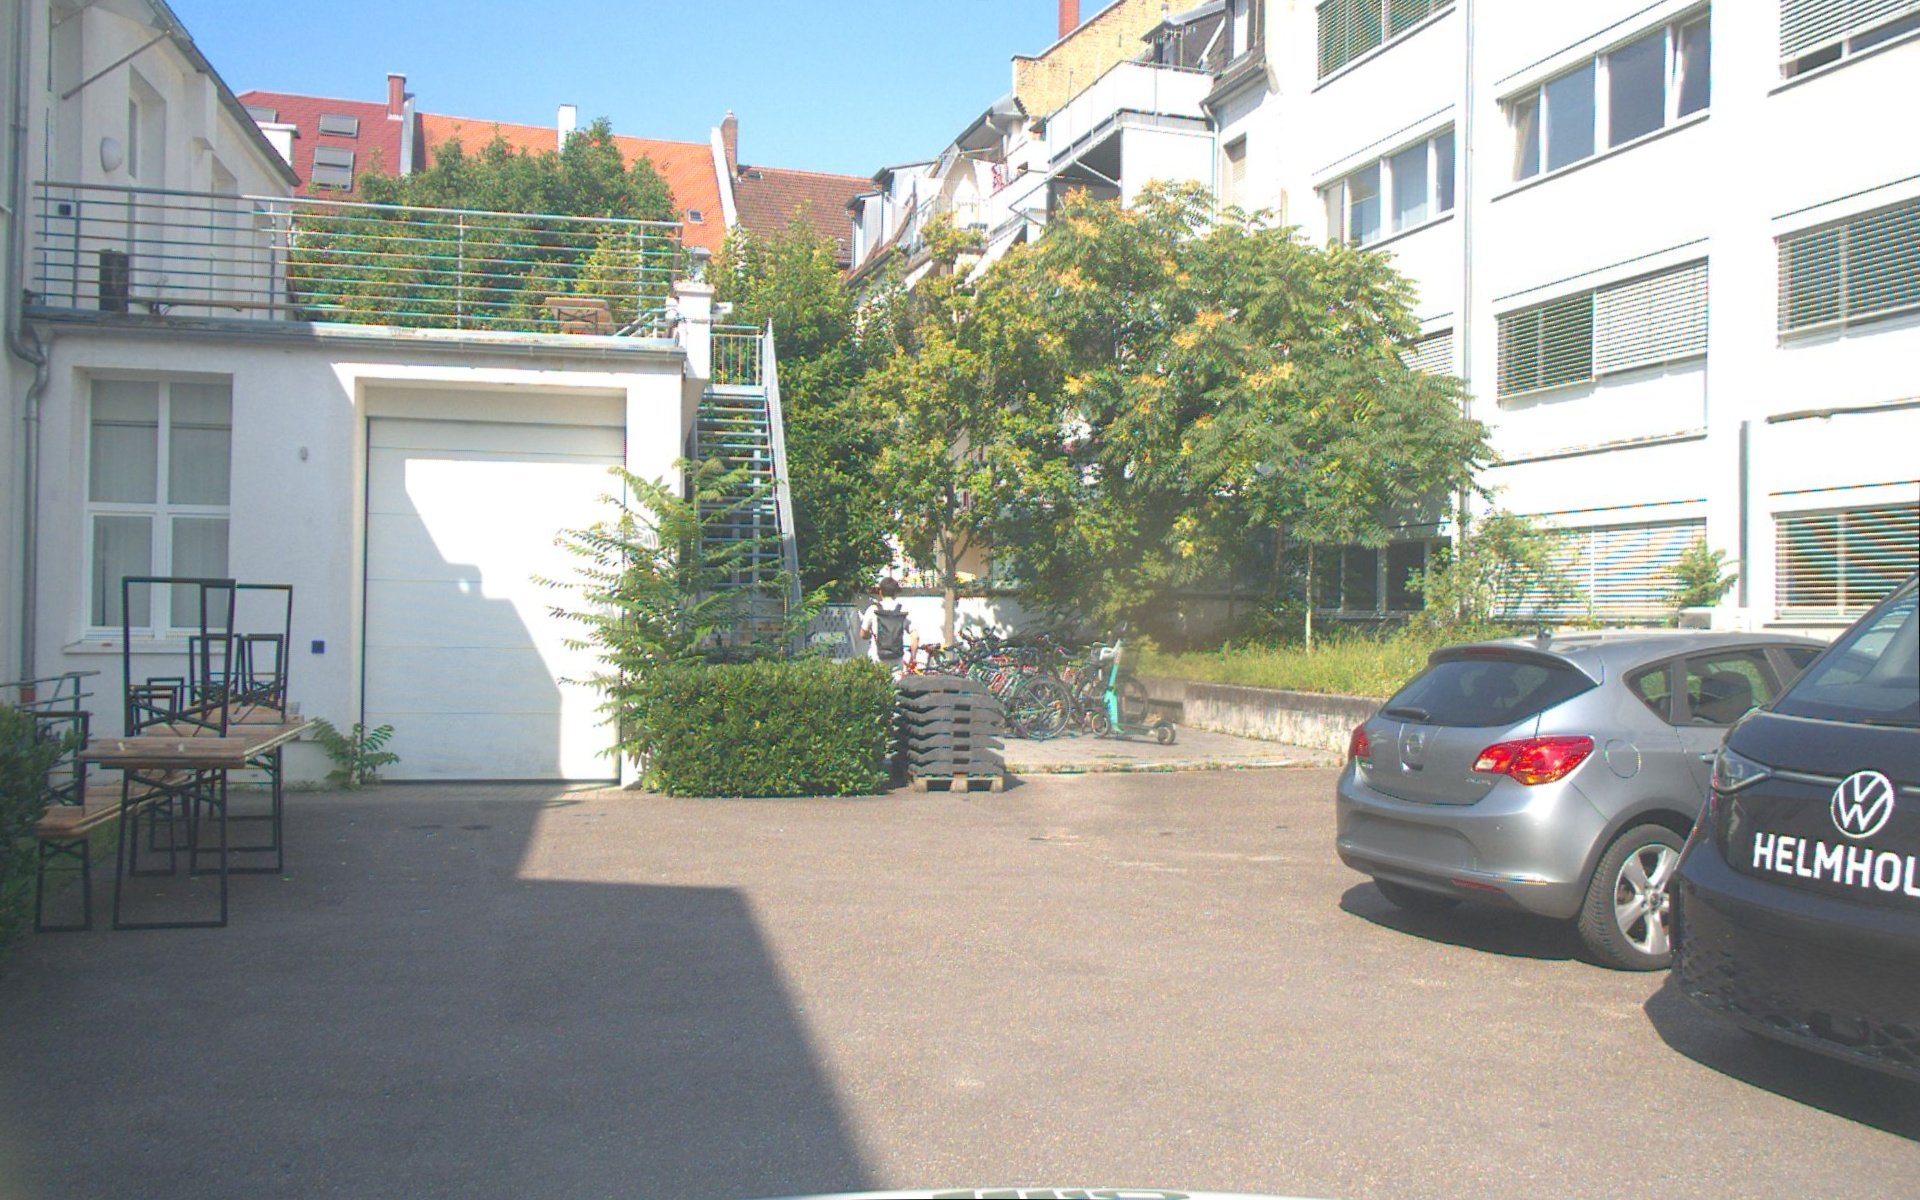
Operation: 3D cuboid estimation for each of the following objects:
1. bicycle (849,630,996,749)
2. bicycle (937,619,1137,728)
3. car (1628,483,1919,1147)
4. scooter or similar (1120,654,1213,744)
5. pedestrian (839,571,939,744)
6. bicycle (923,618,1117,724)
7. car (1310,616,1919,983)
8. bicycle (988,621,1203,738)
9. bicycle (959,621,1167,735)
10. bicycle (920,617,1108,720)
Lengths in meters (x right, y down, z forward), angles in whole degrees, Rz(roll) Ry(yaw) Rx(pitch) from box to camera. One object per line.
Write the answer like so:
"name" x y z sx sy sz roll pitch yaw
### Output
"bicycle" -0.424 0.933 17.754 0.485 1.163 1.965 0 0 -39
"bicycle" 0.941 0.904 20.261 2.369 1.268 0.525 2 -1 -12
"car" 4.652 0.626 5.685 4.274 1.891 1.902 0 0 -22
"scooter or similar" 2.299 1.093 18.442 0.981 0.940 0.358 1 -1 41
"pedestrian" -0.758 0.606 17.740 0.853 1.803 0.602 2 -1 -42
"bicycle" 0.756 0.890 20.802 2.369 1.268 0.525 2 -1 -12
"car" 3.835 0.842 8.415 3.847 1.491 1.649 0 0 -26
"bicycle" 1.542 0.901 18.846 2.369 1.268 0.525 2 -1 -12
"bicycle" 1.217 0.919 19.460 2.369 1.268 0.525 2 -1 -12
"bicycle" 0.697 0.890 21.519 2.369 1.268 0.525 2 -1 -12
